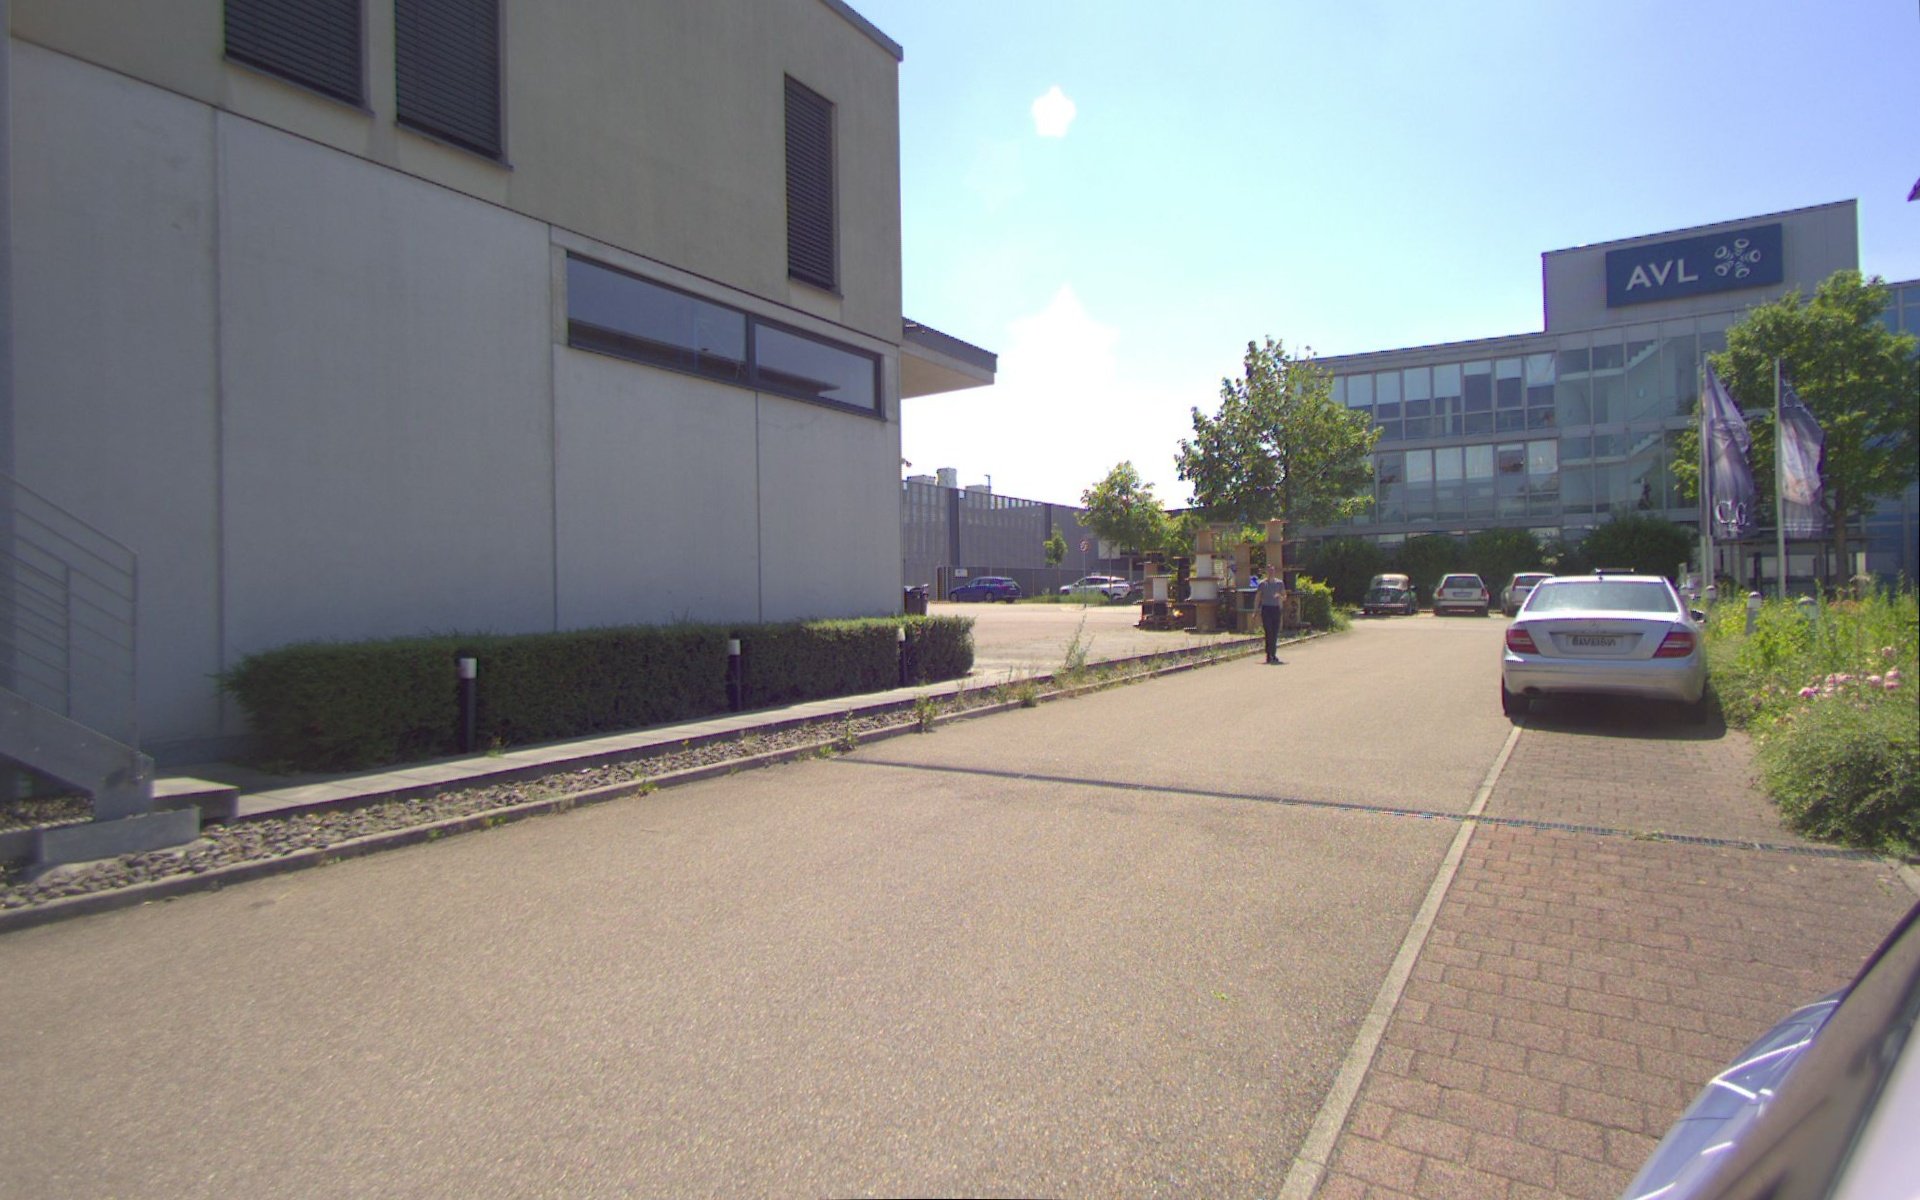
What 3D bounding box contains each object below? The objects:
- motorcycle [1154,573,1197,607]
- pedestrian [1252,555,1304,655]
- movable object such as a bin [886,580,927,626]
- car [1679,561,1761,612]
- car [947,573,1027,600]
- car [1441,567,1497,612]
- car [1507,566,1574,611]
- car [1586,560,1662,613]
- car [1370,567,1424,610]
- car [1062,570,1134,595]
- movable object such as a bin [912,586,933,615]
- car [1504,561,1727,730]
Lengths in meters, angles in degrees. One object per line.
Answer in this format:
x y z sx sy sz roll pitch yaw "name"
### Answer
8.723 -0.421 40.796 0.867 1.275 2.806 0 2 30 "motorcycle"
5.842 0.083 18.625 0.796 1.790 0.767 -1 1 10 "pedestrian"
-1.523 0.085 28.816 0.873 1.265 0.790 0 2 41 "movable object such as a bin"
24.158 -0.456 32.303 1.718 1.503 4.348 0 1 32 "car"
1.481 -0.739 56.280 1.829 1.427 4.434 -2 1 -44 "car"
17.992 -0.411 35.882 1.626 1.470 3.571 1 2 25 "car"
20.137 -0.446 35.233 1.714 1.470 3.571 0 2 25 "car"
22.003 -0.497 33.660 1.924 1.622 3.819 1 2 31 "car"
15.987 -0.463 36.959 1.509 1.463 3.386 1 2 29 "car"
8.539 -1.066 62.970 1.750 1.494 4.407 -2 1 -41 "car"
-1.238 0.024 33.522 0.576 0.929 0.546 -1 2 8 "movable object such as a bin"
7.153 0.332 10.991 1.724 1.475 4.096 0 2 35 "car"
